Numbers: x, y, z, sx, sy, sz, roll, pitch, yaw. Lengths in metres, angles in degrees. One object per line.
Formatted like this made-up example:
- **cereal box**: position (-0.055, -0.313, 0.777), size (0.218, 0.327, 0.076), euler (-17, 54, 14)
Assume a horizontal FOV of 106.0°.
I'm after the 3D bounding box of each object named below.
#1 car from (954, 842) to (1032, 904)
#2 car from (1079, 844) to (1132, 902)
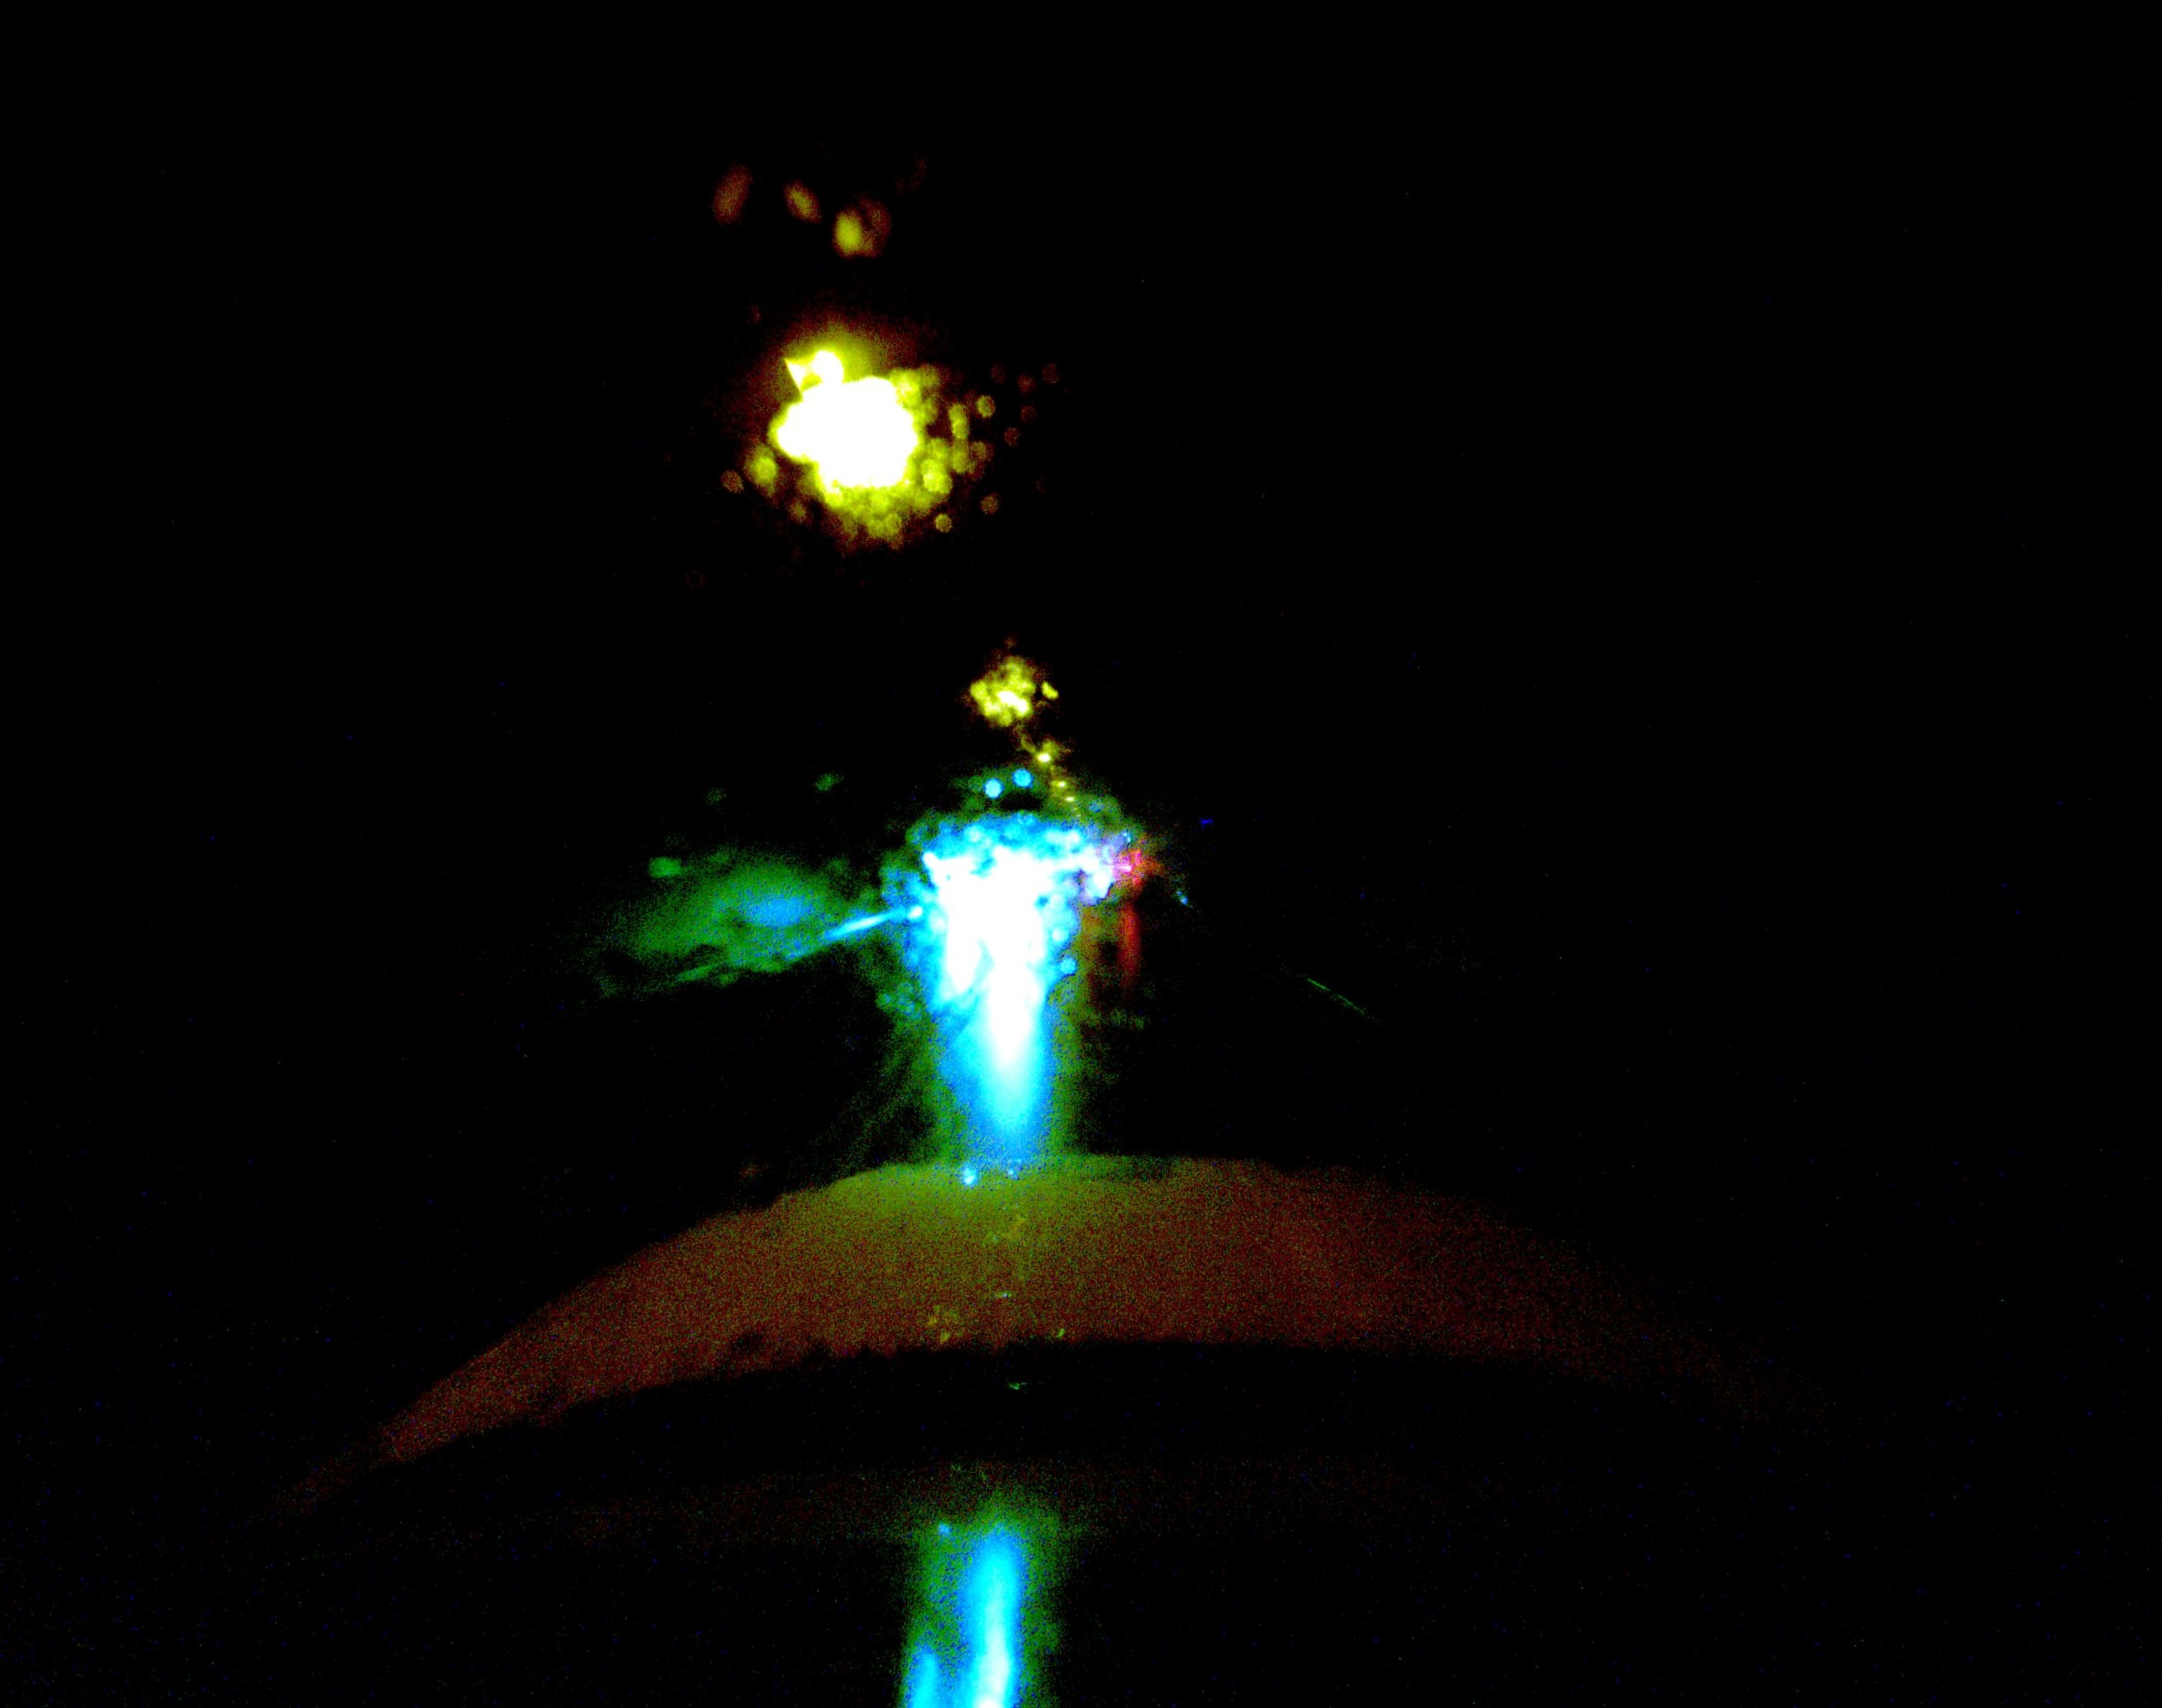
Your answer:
- **car**: position (-2.517, 0.481, 24.284), size (1.629, 1.602, 4.148), euler (-3, 1, 2)
- **car**: position (0.870, 0.584, 28.358), size (1.629, 1.757, 4.148), euler (-3, 1, 2)
